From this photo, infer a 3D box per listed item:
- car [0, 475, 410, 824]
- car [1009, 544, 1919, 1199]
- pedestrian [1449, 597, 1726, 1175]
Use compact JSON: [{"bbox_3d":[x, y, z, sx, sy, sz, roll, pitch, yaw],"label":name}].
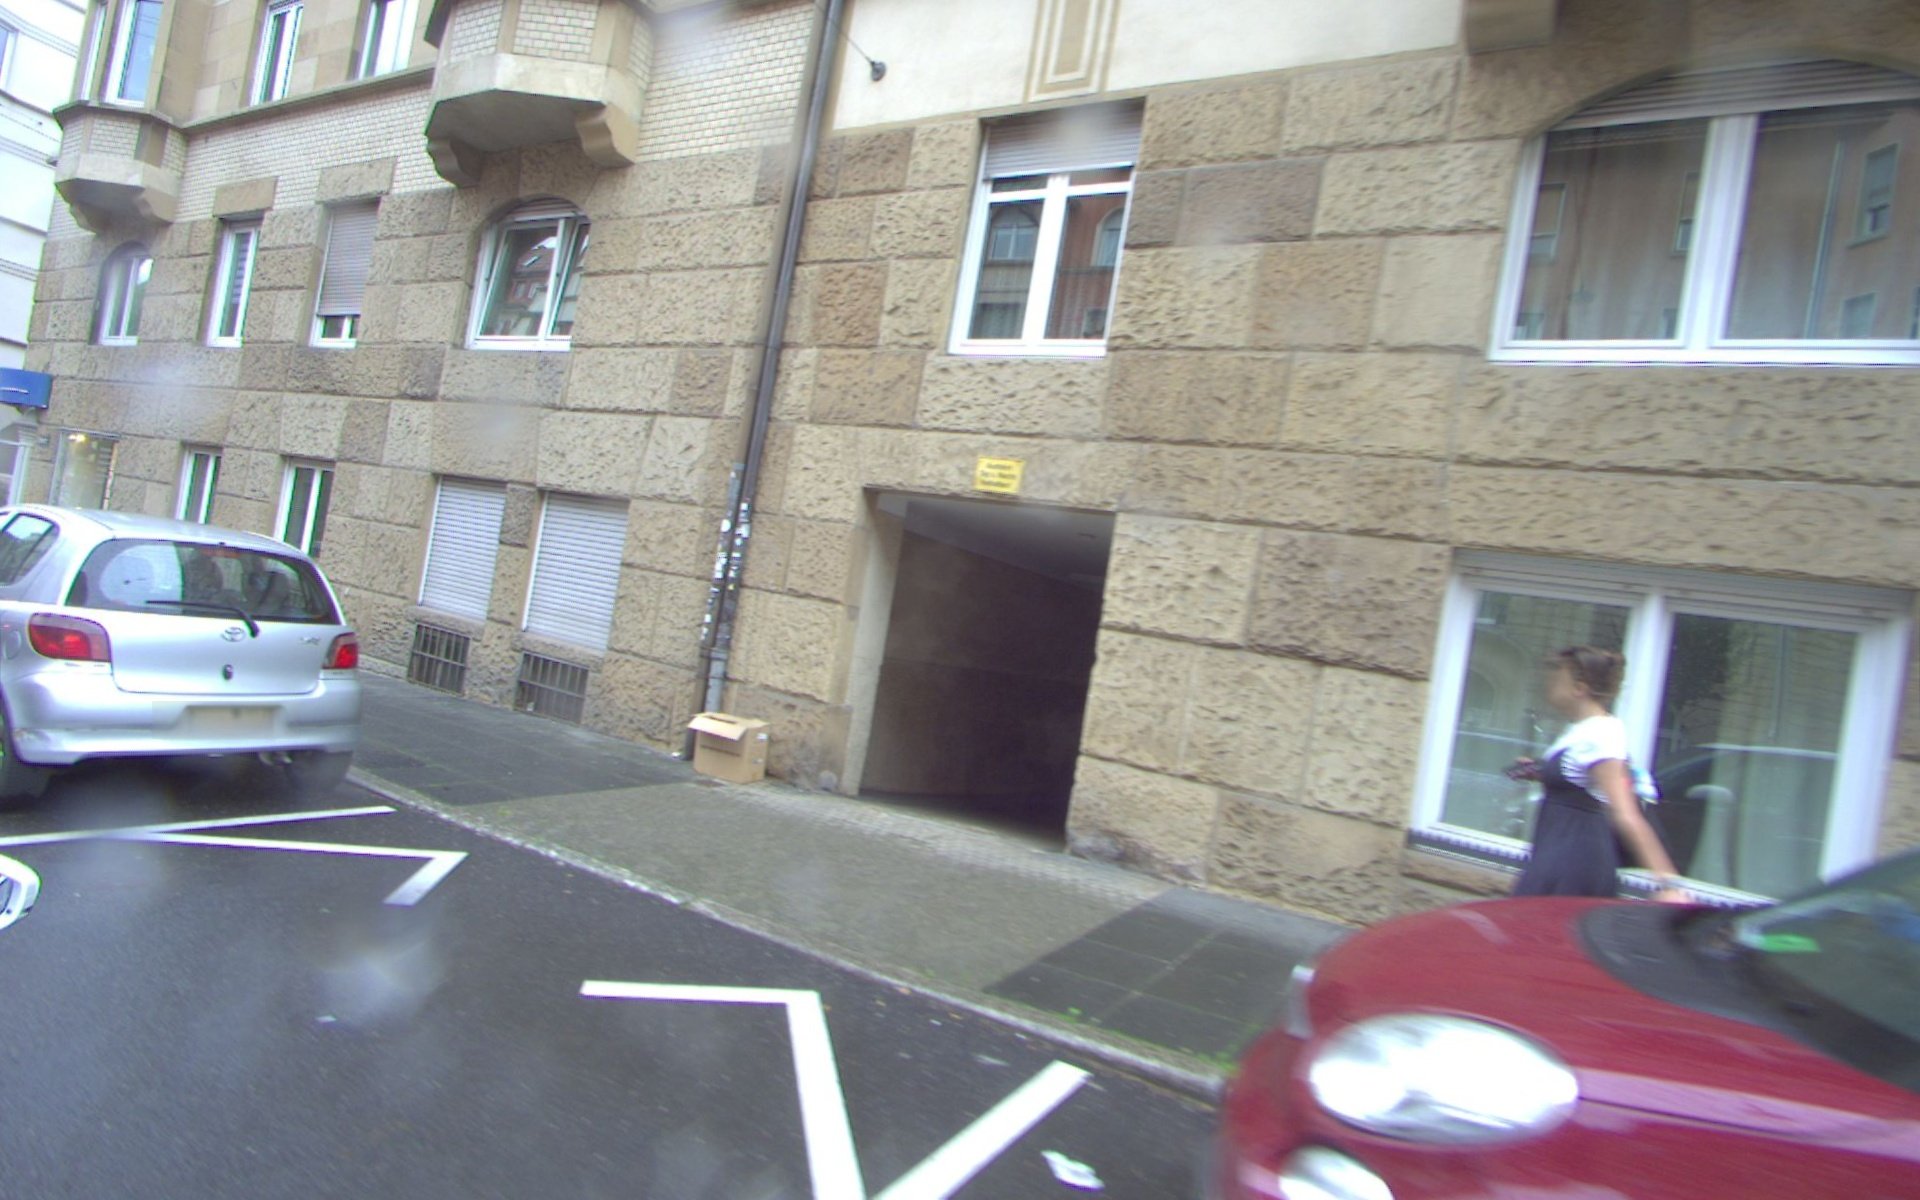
[{"bbox_3d":[-5.202,0.161,6.134,3.408,1.560,1.642,7,-3,32],"label":"car"},{"bbox_3d":[2.216,1.032,1.421,3.931,1.646,1.716,7,-3,29],"label":"car"},{"bbox_3d":[2.305,0.938,3.658,0.600,1.752,0.862,7,-2,38],"label":"pedestrian"}]
